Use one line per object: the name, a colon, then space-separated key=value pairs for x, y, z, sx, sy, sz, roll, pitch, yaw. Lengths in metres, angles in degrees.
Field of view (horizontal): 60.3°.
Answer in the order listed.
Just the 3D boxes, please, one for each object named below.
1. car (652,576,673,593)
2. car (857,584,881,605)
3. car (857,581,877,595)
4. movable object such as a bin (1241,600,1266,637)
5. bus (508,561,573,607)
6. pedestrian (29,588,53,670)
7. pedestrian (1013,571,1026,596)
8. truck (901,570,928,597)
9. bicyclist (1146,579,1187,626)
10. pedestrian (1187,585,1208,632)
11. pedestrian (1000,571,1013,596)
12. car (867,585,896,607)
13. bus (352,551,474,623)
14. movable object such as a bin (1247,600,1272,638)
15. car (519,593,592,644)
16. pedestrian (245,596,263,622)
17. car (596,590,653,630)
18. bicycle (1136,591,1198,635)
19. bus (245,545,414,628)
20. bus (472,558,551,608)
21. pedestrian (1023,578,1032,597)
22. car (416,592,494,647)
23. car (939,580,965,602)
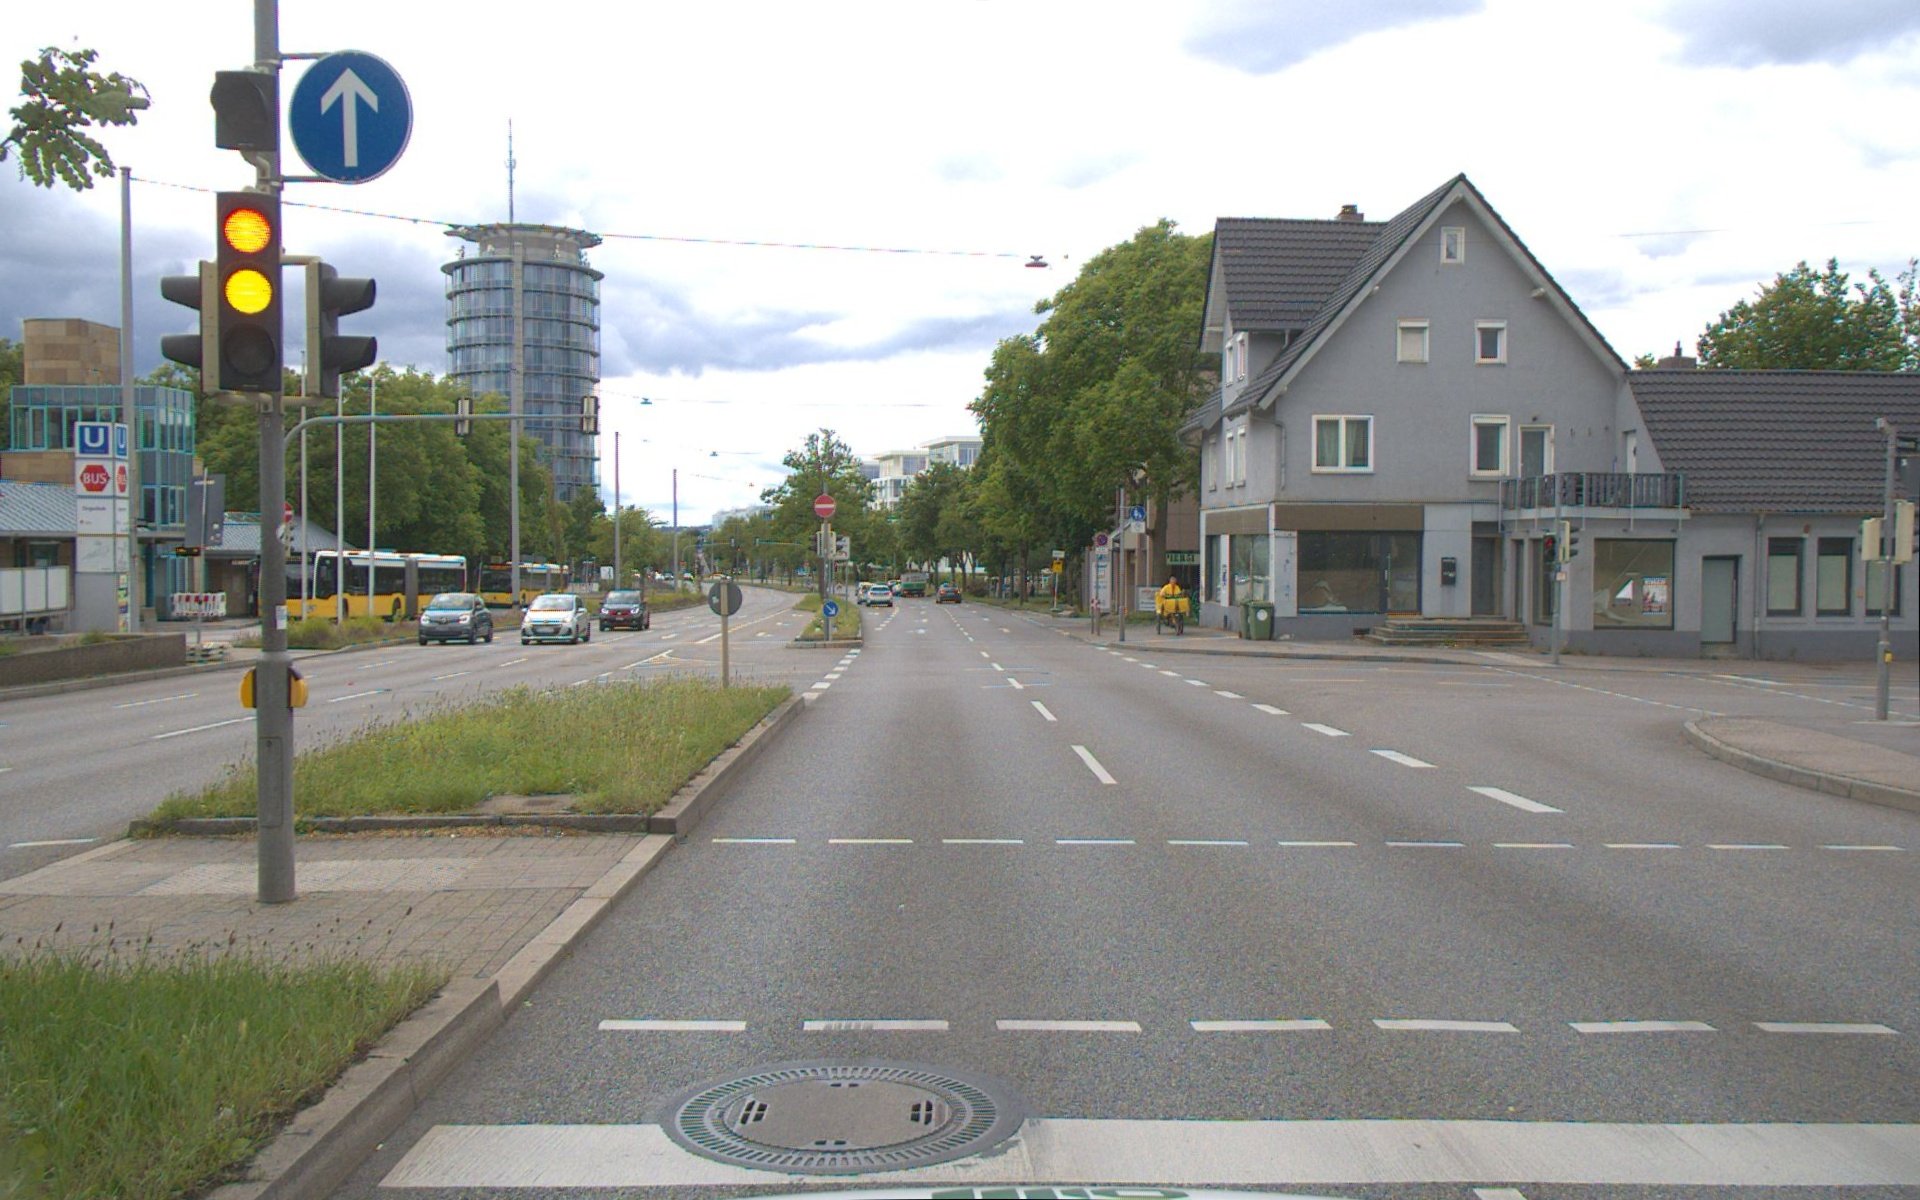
car: x=-35.908 y=-1.843 z=199.730 sx=1.925 sy=2.049 sz=3.999 roll=1 pitch=0 yaw=-1
car: x=-6.966 y=-0.412 z=126.234 sx=1.786 sy=1.567 sz=4.111 roll=0 pitch=0 yaw=-3
car: x=-9.721 y=-1.273 z=173.011 sx=1.929 sy=1.444 sz=4.017 roll=0 pitch=0 yaw=-6
movable object such as a bin: x=7.967 y=0.494 z=44.940 sx=0.518 sy=0.997 sz=0.736 roll=0 pitch=0 yaw=-1
bus: x=-31.147 y=-1.139 z=122.998 sx=3.081 sy=3.281 sz=7.762 roll=0 pitch=0 yaw=-2
pedestrian: x=-18.415 y=0.580 z=33.151 sx=0.414 sy=1.619 sz=0.353 roll=0 pitch=0 yaw=-30
pedestrian: x=4.854 y=-1.321 z=135.542 sx=0.951 sy=2.011 sz=0.981 roll=1 pitch=-1 yaw=-2
truck: x=-4.349 y=-1.547 z=156.414 sx=2.207 sy=2.459 sz=4.927 roll=0 pitch=0 yaw=-5
bicyclist: x=6.057 y=0.068 z=48.488 sx=1.055 sy=1.380 sz=0.626 roll=-1 pitch=0 yaw=-13
pedestrian: x=9.575 y=0.344 z=66.573 sx=0.690 sy=1.811 sz=0.870 roll=4 pitch=-4 yaw=6
pedestrian: x=3.792 y=-1.359 z=135.381 sx=0.951 sy=2.049 sz=0.981 roll=1 pitch=-1 yaw=-2
car: x=-5.486 y=-0.279 z=115.583 sx=1.954 sy=1.503 sz=4.254 roll=-1 pitch=0 yaw=-3
bus: x=-26.546 y=-0.616 z=80.706 sx=2.927 sy=3.327 sz=7.879 roll=-1 pitch=0 yaw=3
movable object such as a bin: x=7.997 y=0.493 z=44.150 sx=0.518 sy=0.997 sz=0.736 roll=0 pitch=0 yaw=-1
car: x=-12.365 y=0.548 z=50.714 sx=1.651 sy=1.488 sz=3.552 roll=0 pitch=0 yaw=-5
pedestrian: x=-30.056 y=0.395 z=70.428 sx=0.512 sy=1.076 sz=0.587 roll=1 pitch=0 yaw=-1
car: x=-13.165 y=0.390 z=65.120 sx=1.668 sy=1.518 sz=3.560 roll=-1 pitch=0 yaw=-3
bicycle: x=6.056 y=0.375 z=48.546 sx=1.055 sy=1.239 sz=2.431 roll=-1 pitch=0 yaw=-12
bus: x=-27.083 y=-0.563 z=71.682 sx=2.927 sy=3.307 sz=10.174 roll=-1 pitch=0 yaw=3
bus: x=-30.785 y=-1.123 z=114.000 sx=3.082 sy=3.281 sz=10.279 roll=0 pitch=0 yaw=-3
pedestrian: x=5.657 y=-1.060 z=138.117 sx=0.638 sy=1.597 sz=0.669 roll=0 pitch=0 yaw=-9
car: x=-15.474 y=0.563 z=50.802 sx=1.652 sy=1.606 sz=3.344 roll=0 pitch=0 yaw=-6
car: x=-0.613 y=-0.673 z=126.042 sx=1.851 sy=1.521 sz=4.098 roll=-2 pitch=-1 yaw=-1
